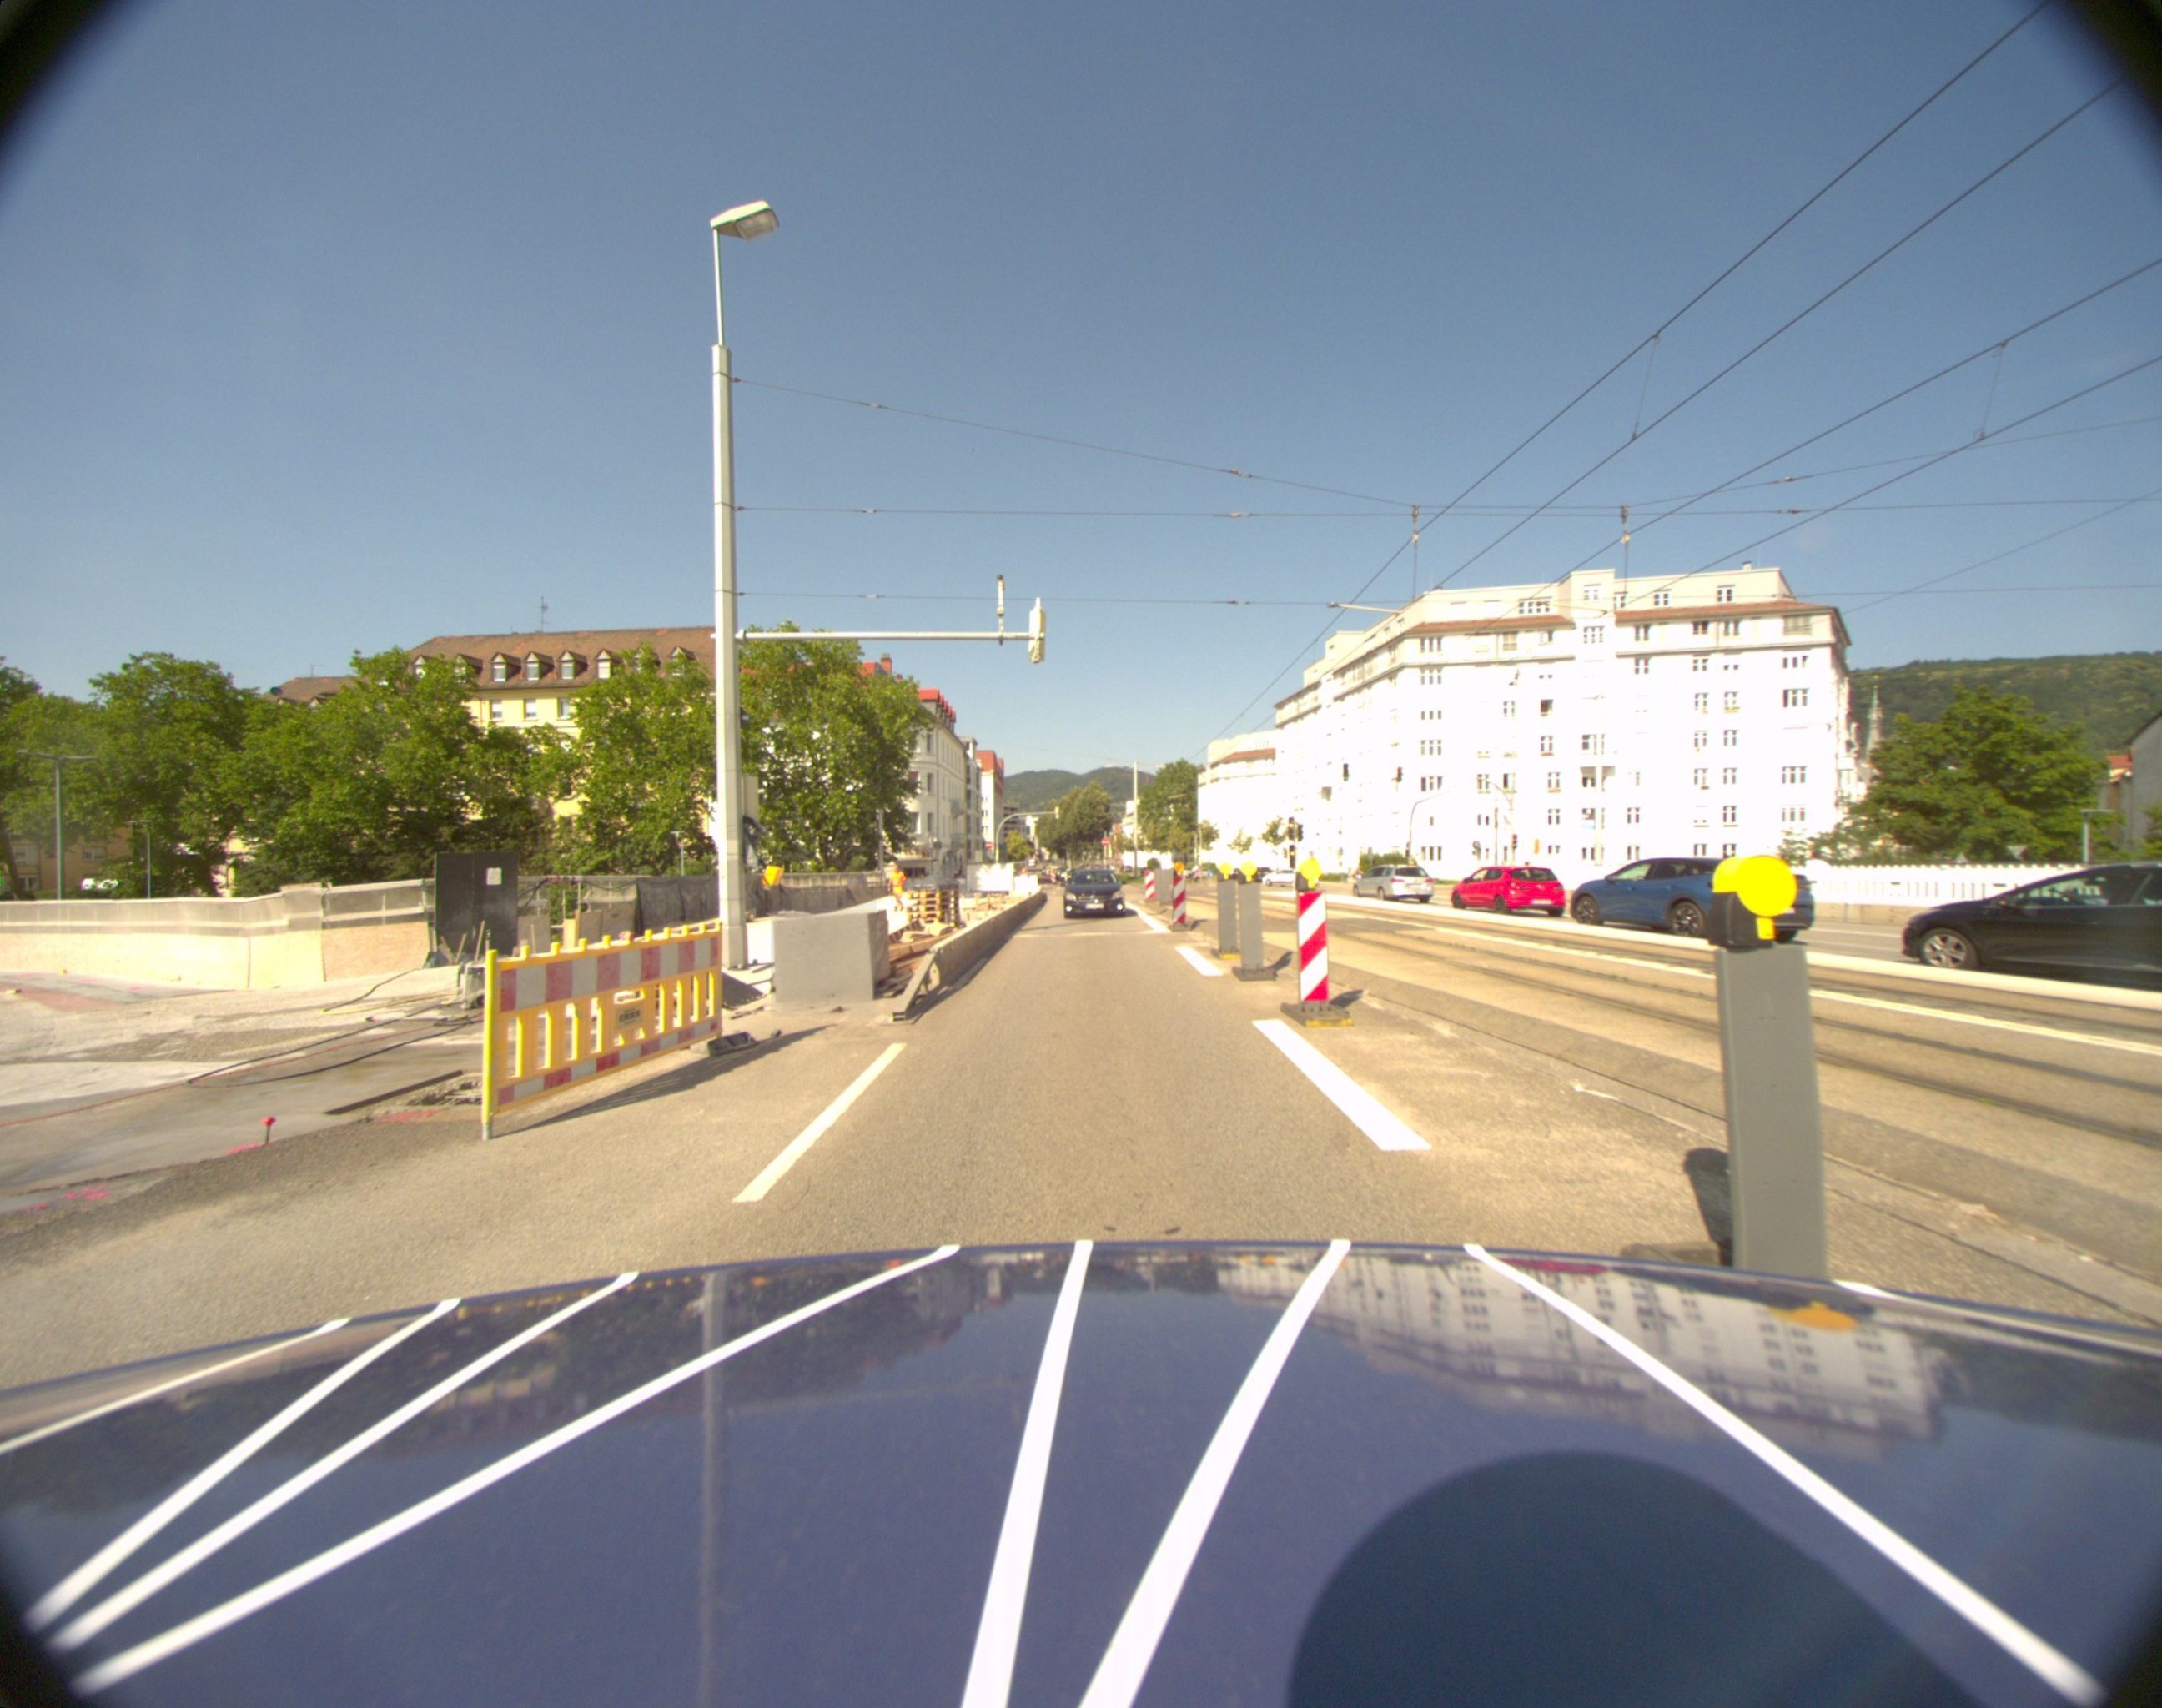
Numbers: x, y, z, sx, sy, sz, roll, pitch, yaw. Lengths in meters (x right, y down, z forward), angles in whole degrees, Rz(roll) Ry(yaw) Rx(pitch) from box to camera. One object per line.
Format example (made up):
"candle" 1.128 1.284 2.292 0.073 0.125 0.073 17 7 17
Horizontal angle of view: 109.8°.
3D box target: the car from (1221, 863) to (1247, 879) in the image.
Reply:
"car" 16.650 1.806 82.879 1.740 1.628 3.738 -1 0 -7

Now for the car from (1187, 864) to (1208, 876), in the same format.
"car" 14.672 1.962 95.634 1.740 1.475 3.739 -1 0 -5

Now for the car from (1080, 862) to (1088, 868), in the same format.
"car" 0.803 2.997 203.313 1.798 1.475 3.739 -1 0 -3

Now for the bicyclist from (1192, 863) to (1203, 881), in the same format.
"bicyclist" 9.924 1.546 64.789 0.784 1.541 0.709 -1 1 -8

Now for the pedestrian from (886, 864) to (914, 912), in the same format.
"pedestrian" -6.916 1.274 29.037 0.821 1.784 0.864 1 0 -1

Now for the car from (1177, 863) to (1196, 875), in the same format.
"car" 14.448 2.054 103.865 1.740 1.475 3.739 -1 0 -5

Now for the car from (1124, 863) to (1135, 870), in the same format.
"car" 9.879 2.588 155.355 1.740 1.475 3.739 -1 0 -5

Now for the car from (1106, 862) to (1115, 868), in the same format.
"car" 7.144 2.595 183.416 1.739 1.475 3.739 -1 0 -3

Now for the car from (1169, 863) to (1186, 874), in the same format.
"car" 14.118 2.092 110.931 1.740 1.475 3.739 -1 0 -5

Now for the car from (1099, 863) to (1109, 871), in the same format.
"car" 4.462 2.441 146.634 1.696 1.546 3.655 0 -1 -3

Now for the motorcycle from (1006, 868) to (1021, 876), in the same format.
"motorcycle" -9.782 2.600 109.938 2.177 1.159 0.744 -1 0 1

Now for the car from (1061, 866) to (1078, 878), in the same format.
"car" -1.421 2.121 89.132 1.767 1.346 3.999 -2 -1 -4

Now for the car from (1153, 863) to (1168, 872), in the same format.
"car" 12.928 2.235 124.091 1.740 1.475 3.739 -1 0 -5

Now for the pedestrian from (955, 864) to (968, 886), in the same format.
"pedestrian" -9.437 1.629 59.980 1.003 1.697 0.822 -1 1 -7

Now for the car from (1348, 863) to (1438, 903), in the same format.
"car" 12.170 1.074 29.936 1.642 1.428 4.644 1 -1 0

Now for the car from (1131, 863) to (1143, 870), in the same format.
"car" 10.884 2.407 147.542 1.740 1.475 3.739 -1 0 -5

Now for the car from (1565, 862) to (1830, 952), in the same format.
"car" 12.050 0.935 15.344 1.674 1.541 4.556 0 0 0

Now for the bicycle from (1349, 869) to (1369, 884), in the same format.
"bicycle" 21.152 1.698 57.822 0.618 1.093 1.785 -1 0 -7

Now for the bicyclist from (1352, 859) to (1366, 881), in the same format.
"bicyclist" 21.138 1.213 57.797 0.624 1.580 0.917 -1 0 -7

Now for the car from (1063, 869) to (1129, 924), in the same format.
"car" 0.397 1.181 22.728 1.703 1.399 4.623 -2 -1 0

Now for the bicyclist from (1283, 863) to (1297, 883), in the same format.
"bicyclist" 17.831 1.617 64.893 1.008 1.643 0.810 -4 -2 15

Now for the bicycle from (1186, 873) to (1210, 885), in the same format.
"bicycle" 9.995 2.117 64.808 1.819 0.985 0.710 -2 0 -9

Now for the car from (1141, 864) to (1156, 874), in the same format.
"car" 10.169 2.240 114.363 1.594 1.484 3.661 0 -1 -4

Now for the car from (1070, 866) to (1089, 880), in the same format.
"car" -0.183 1.919 76.644 1.767 1.346 4.000 -2 -1 -1

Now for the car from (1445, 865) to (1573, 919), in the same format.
"car" 12.442 1.052 22.388 1.537 1.429 3.980 0 0 0

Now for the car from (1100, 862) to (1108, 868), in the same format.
"car" 5.798 2.865 192.900 1.798 1.475 3.739 -1 0 -3

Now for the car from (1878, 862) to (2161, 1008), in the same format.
"car" 11.889 0.853 8.507 1.509 1.491 4.177 1 0 0

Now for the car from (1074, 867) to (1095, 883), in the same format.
"car" 0.351 1.882 69.453 1.767 1.313 4.001 -2 -1 1

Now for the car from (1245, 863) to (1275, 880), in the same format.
"car" 17.511 1.710 74.461 1.740 1.628 3.739 -1 0 -5

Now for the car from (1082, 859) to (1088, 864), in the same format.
"car" 1.271 2.480 243.996 1.798 1.672 3.739 -1 0 -3

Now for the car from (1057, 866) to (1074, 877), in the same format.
"car" -1.977 2.178 96.346 1.768 1.346 3.998 -2 -1 -6

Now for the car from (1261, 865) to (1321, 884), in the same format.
"car" 16.252 1.605 58.916 1.705 1.403 4.475 1 -1 -32
